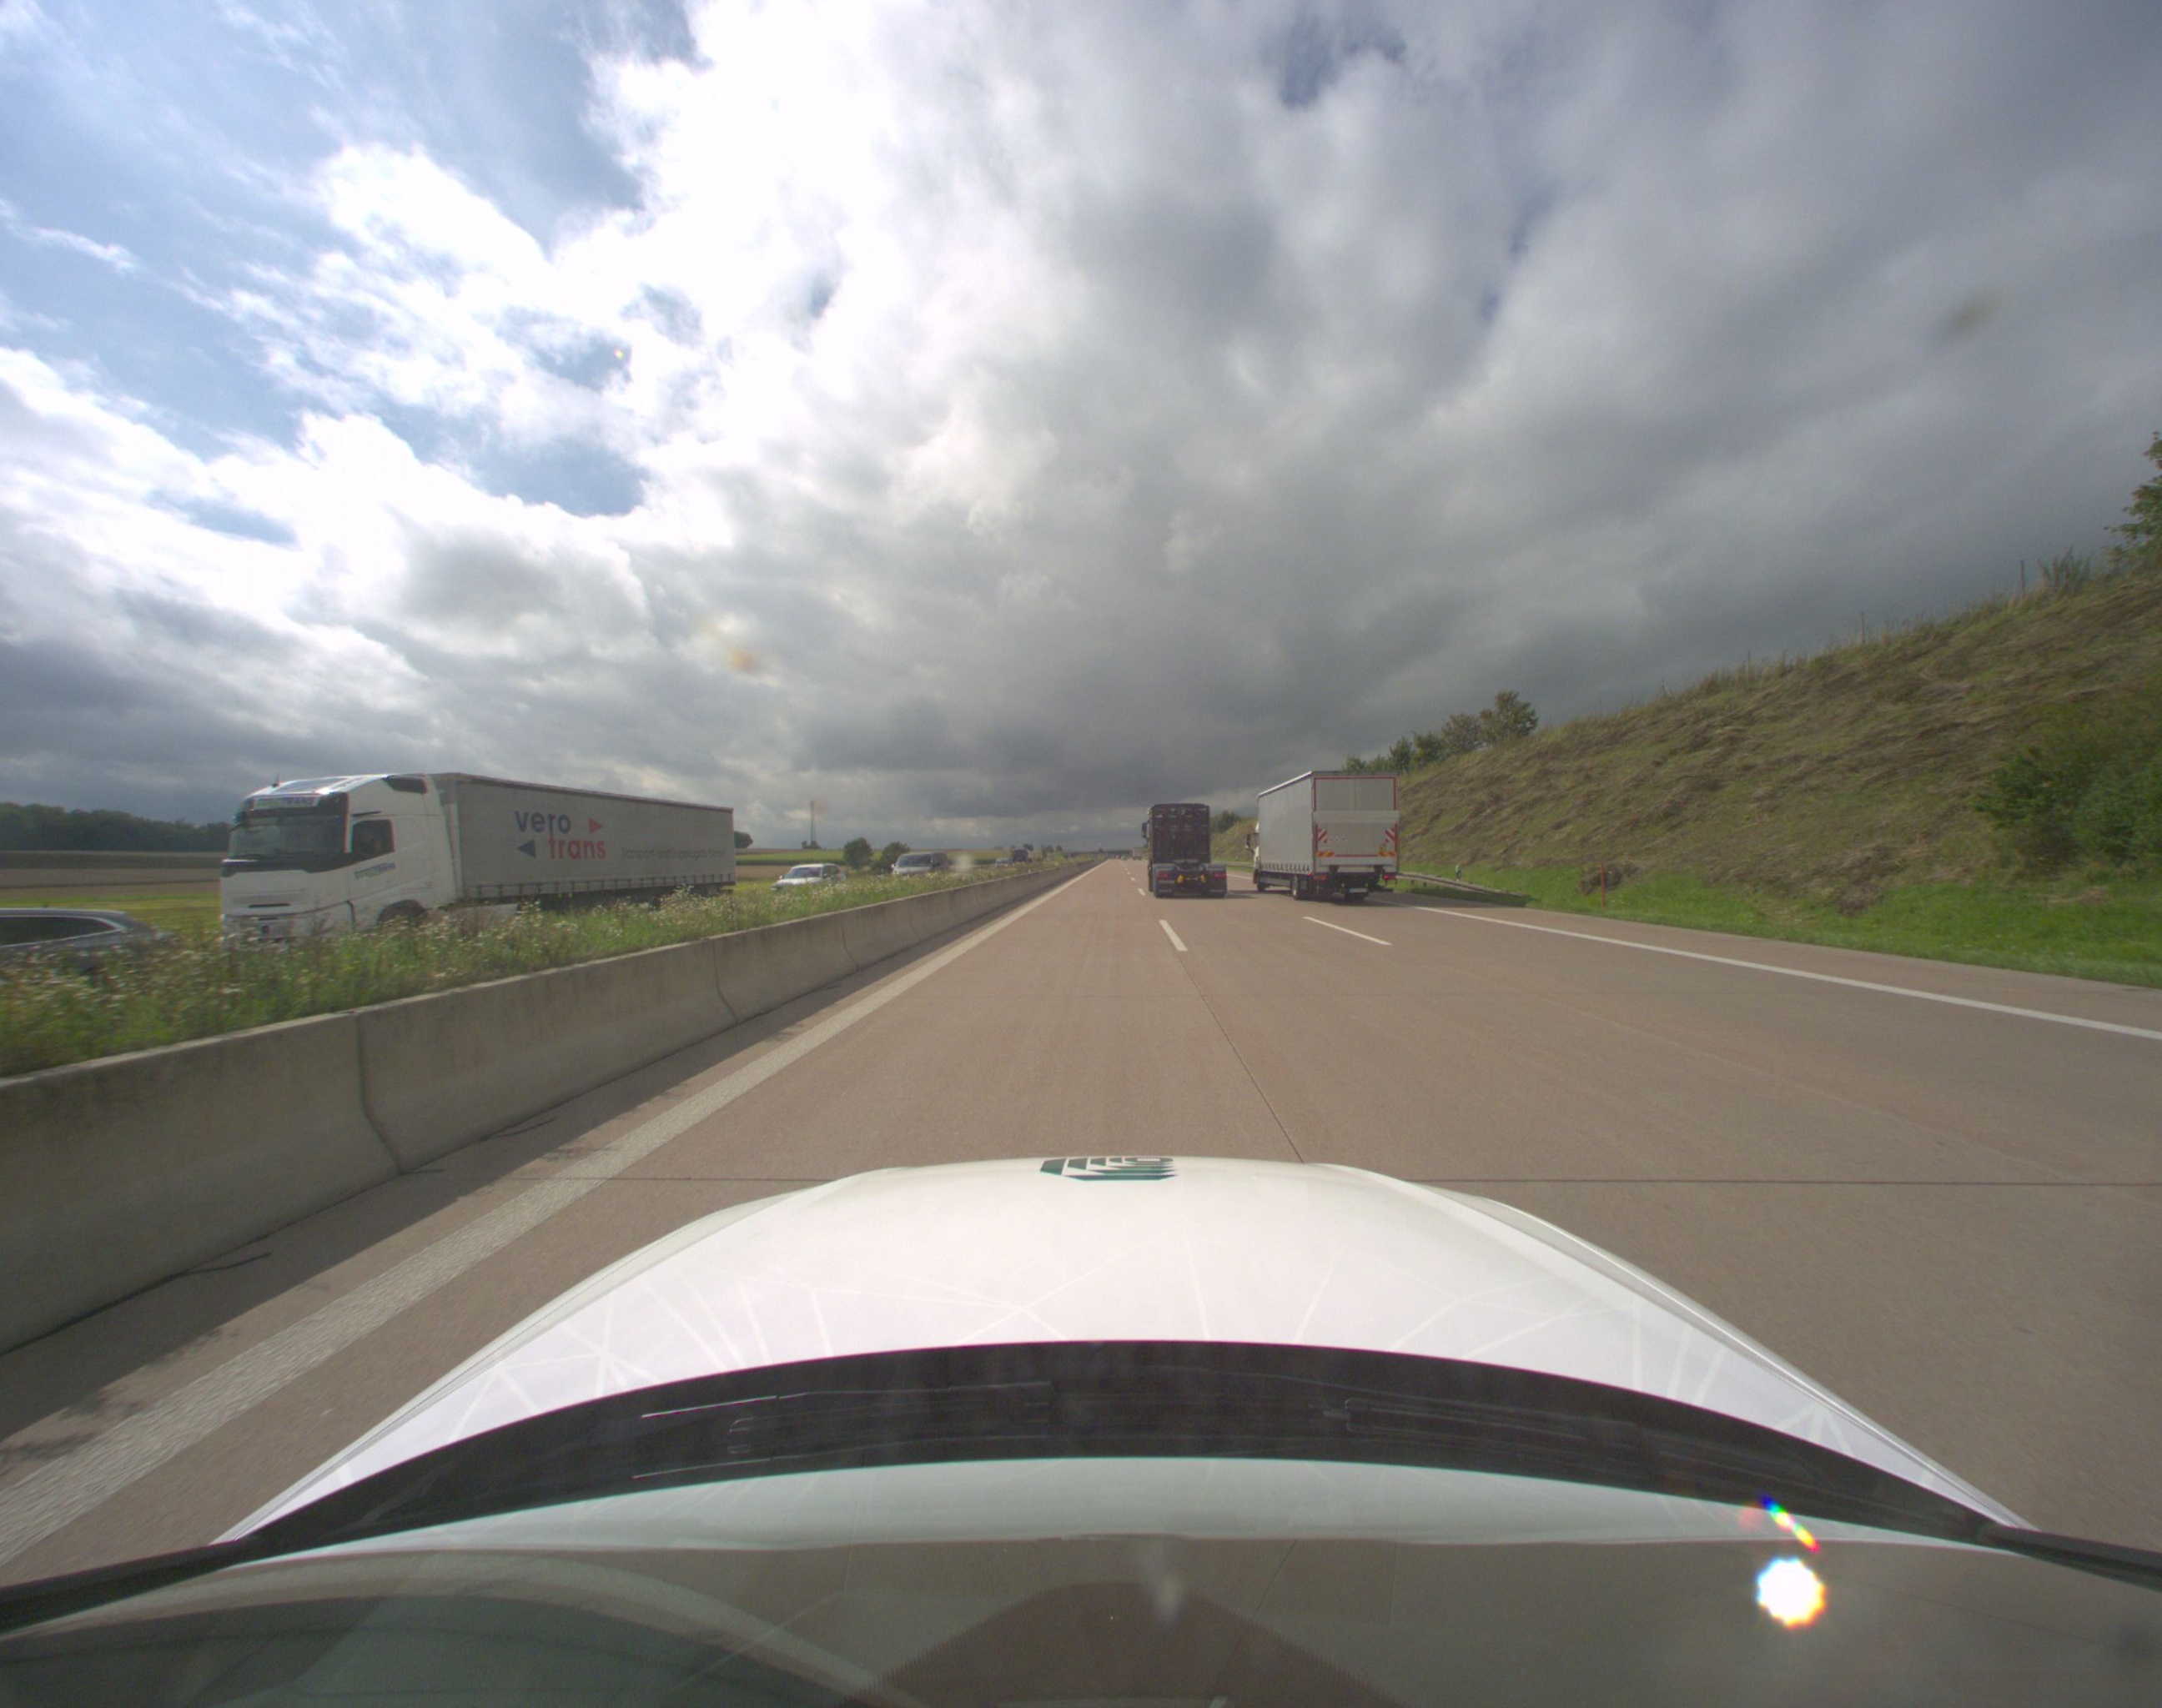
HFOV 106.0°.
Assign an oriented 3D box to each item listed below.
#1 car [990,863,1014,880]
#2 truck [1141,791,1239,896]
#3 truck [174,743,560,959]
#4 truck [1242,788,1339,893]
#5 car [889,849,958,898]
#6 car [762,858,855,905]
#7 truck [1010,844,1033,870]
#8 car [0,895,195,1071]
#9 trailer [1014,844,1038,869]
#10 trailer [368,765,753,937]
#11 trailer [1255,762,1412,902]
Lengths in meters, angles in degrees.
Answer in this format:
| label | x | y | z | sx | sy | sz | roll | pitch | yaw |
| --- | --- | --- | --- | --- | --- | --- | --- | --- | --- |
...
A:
| label | x | y | z | sx | sy | sz | roll | pitch | yaw |
| --- | --- | --- | --- | --- | --- | --- | --- | --- | --- |
| car | -8.722 | 1.913 | 90.346 | 1.986 | 1.699 | 4.258 | -3 | 0 | 2 |
| truck | 4.008 | -0.330 | 31.723 | 2.837 | 3.550 | 8.320 | 0 | 0 | 1 |
| truck | -15.617 | -0.081 | 18.618 | 3.192 | 4.098 | 6.132 | 0 | 0 | 3 |
| truck | 8.234 | -0.510 | 32.484 | 2.739 | 3.892 | 4.546 | 0 | 0 | 0 |
| car | -7.229 | 0.839 | 37.966 | 1.986 | 2.013 | 5.248 | -3 | 0 | 1 |
| car | -10.940 | 1.048 | 33.086 | 1.986 | 1.657 | 4.786 | -3 | 0 | 1 |
| truck | -10.170 | 0.480 | 140.318 | 2.879 | 4.098 | 6.340 | -3 | 0 | 3 |
| car | -12.270 | 1.412 | 8.182 | 1.766 | 1.748 | 4.473 | 0 | 0 | 1 |
| trailer | -9.814 | 0.460 | 146.658 | 2.880 | 4.098 | 11.046 | -3 | 0 | 3 |
| trailer | -15.181 | -0.117 | 26.178 | 3.194 | 4.098 | 13.270 | 0 | 0 | 3 |
| trailer | 8.189 | -0.615 | 27.767 | 2.738 | 4.012 | 8.671 | 0 | 0 | 1 |
